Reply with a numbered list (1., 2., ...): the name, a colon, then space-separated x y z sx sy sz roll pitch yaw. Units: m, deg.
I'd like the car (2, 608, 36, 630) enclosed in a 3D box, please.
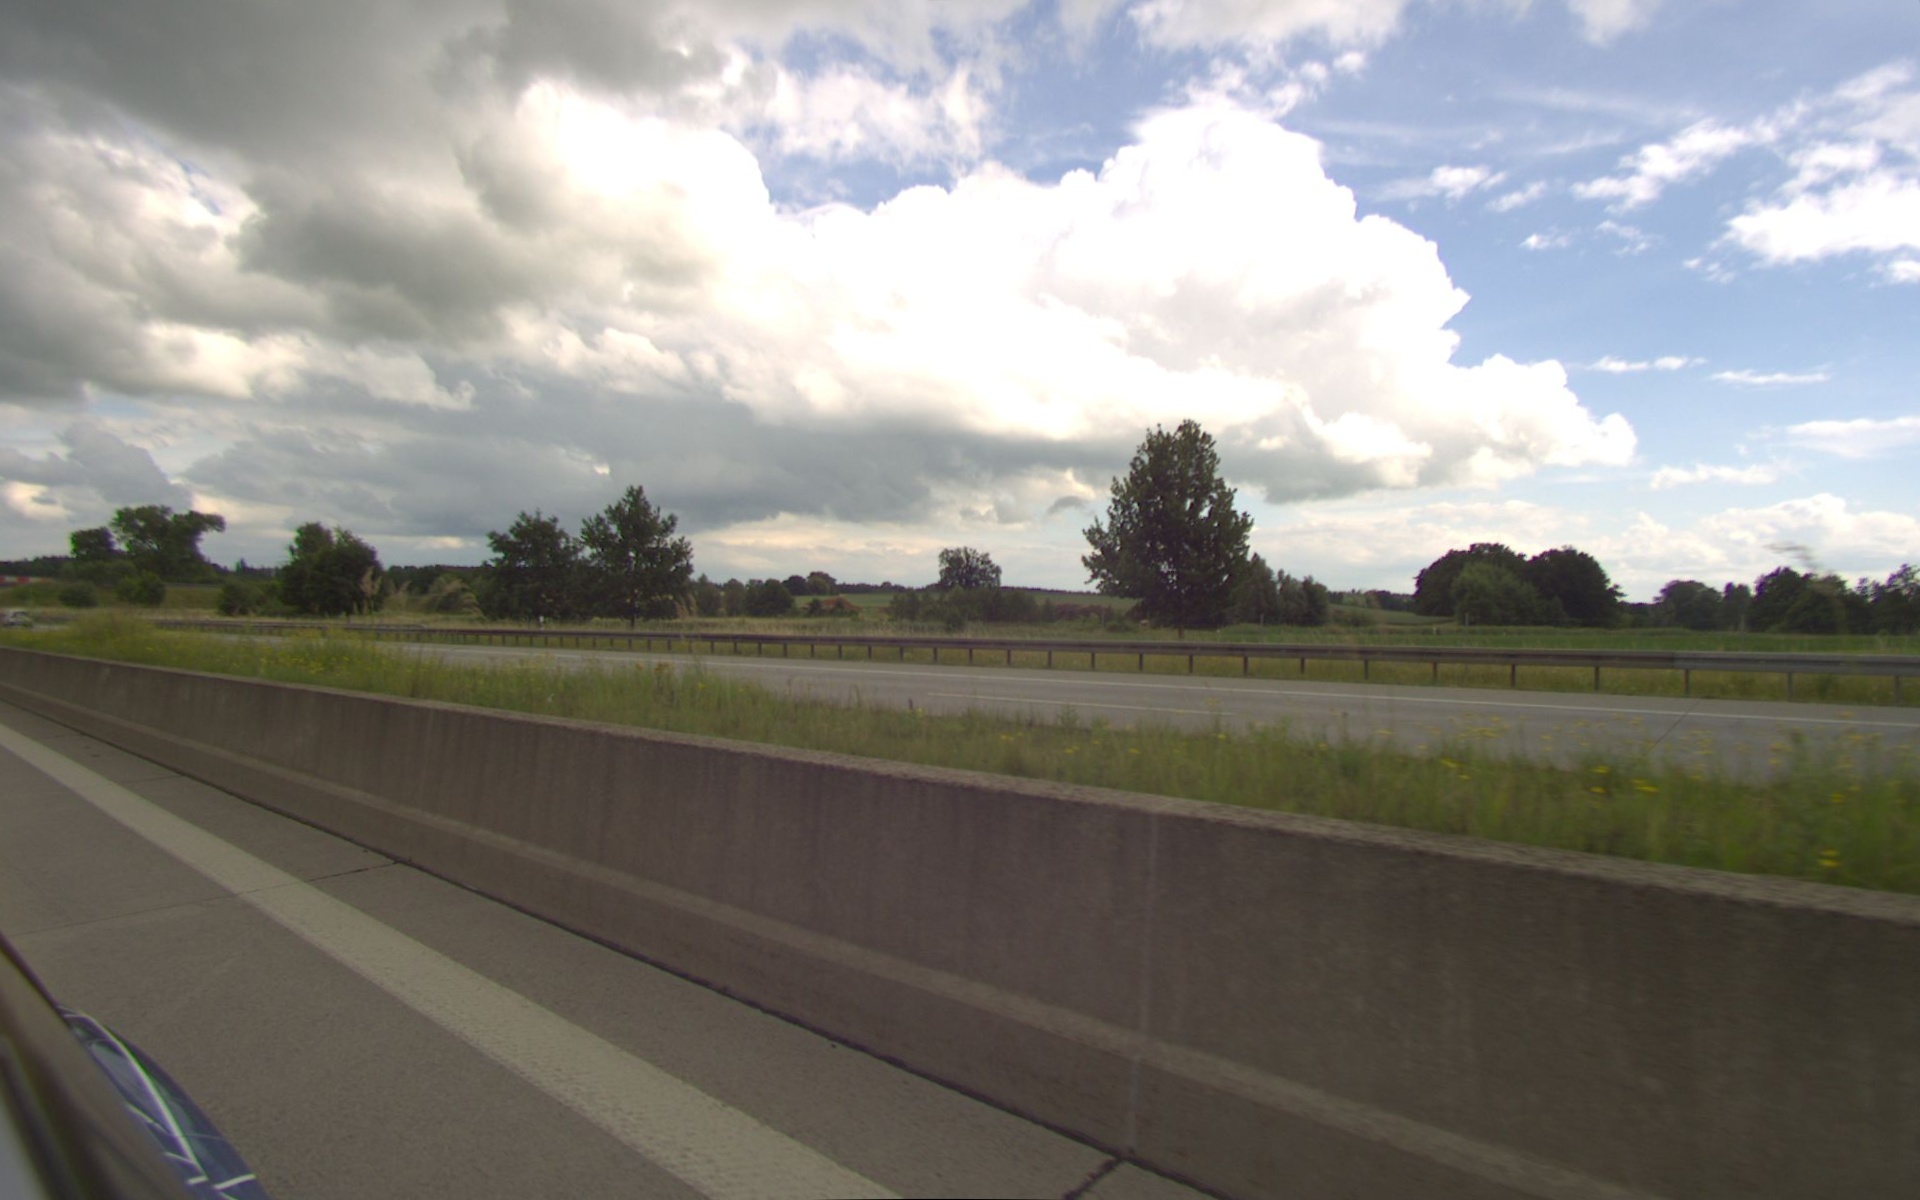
1. car: -89.347 1.772 96.085 3.998 2.029 1.973 -1 0 41
